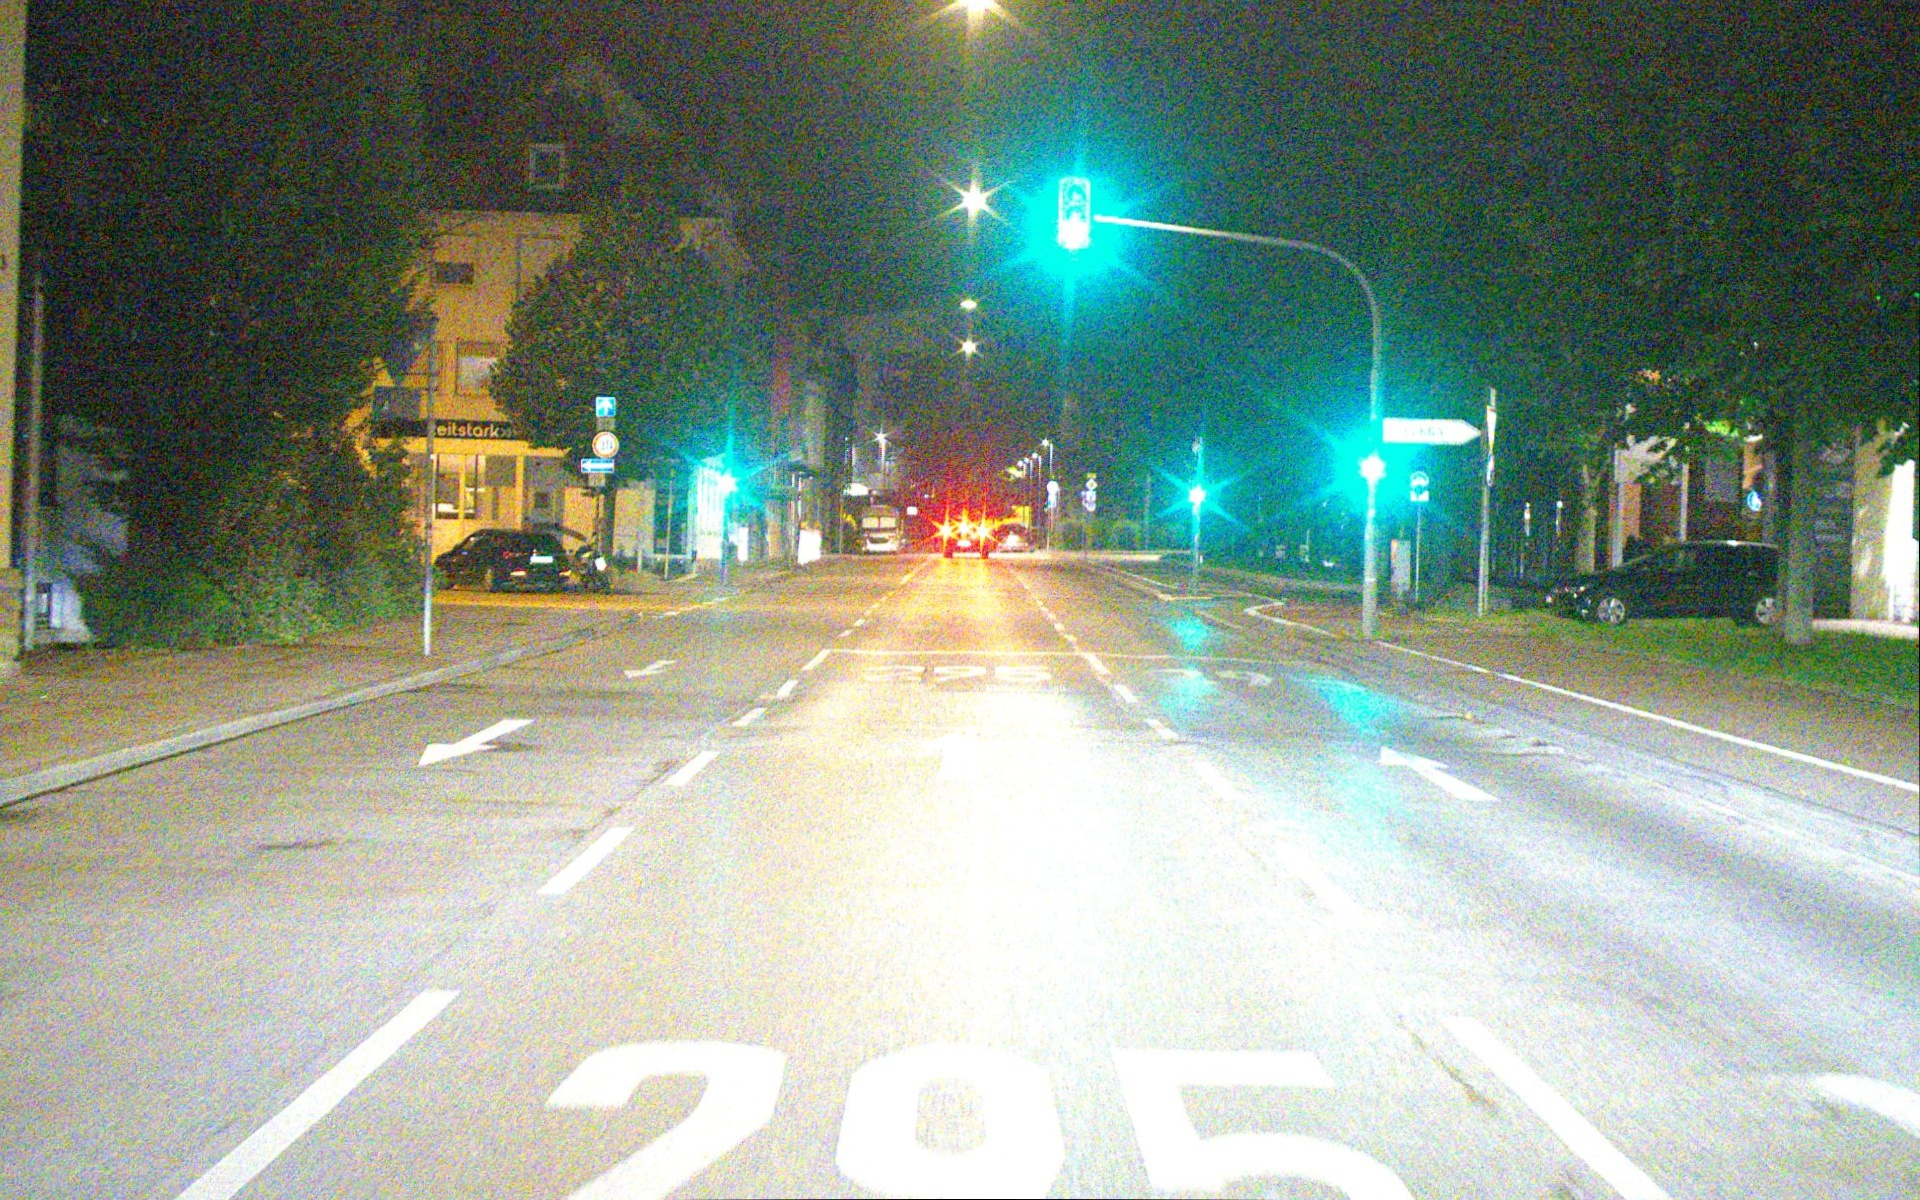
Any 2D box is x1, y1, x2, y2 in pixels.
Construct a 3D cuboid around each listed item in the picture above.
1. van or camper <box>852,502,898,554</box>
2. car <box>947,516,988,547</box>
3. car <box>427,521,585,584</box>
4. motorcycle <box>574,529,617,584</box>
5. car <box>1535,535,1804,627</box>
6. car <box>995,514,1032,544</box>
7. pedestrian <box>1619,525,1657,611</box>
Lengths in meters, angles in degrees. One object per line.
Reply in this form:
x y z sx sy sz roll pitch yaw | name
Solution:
-4.313 -3.627 174.390 2.158 2.527 6.227 -1 1 0 | van or camper
0.306 -3.007 150.632 1.663 1.338 3.626 1 1 -1 | car
-10.527 -1.115 79.449 1.886 1.419 4.730 0 1 -31 | car
-8.075 -0.977 76.101 0.571 1.175 2.033 1 1 -17 | motorcycle
11.785 -0.324 57.285 4.081 1.449 1.787 1 1 0 | car
2.896 -3.800 184.697 1.884 1.597 4.107 0 1 2 | car
14.417 -0.686 73.107 0.621 1.805 0.759 1 1 1 | pedestrian
